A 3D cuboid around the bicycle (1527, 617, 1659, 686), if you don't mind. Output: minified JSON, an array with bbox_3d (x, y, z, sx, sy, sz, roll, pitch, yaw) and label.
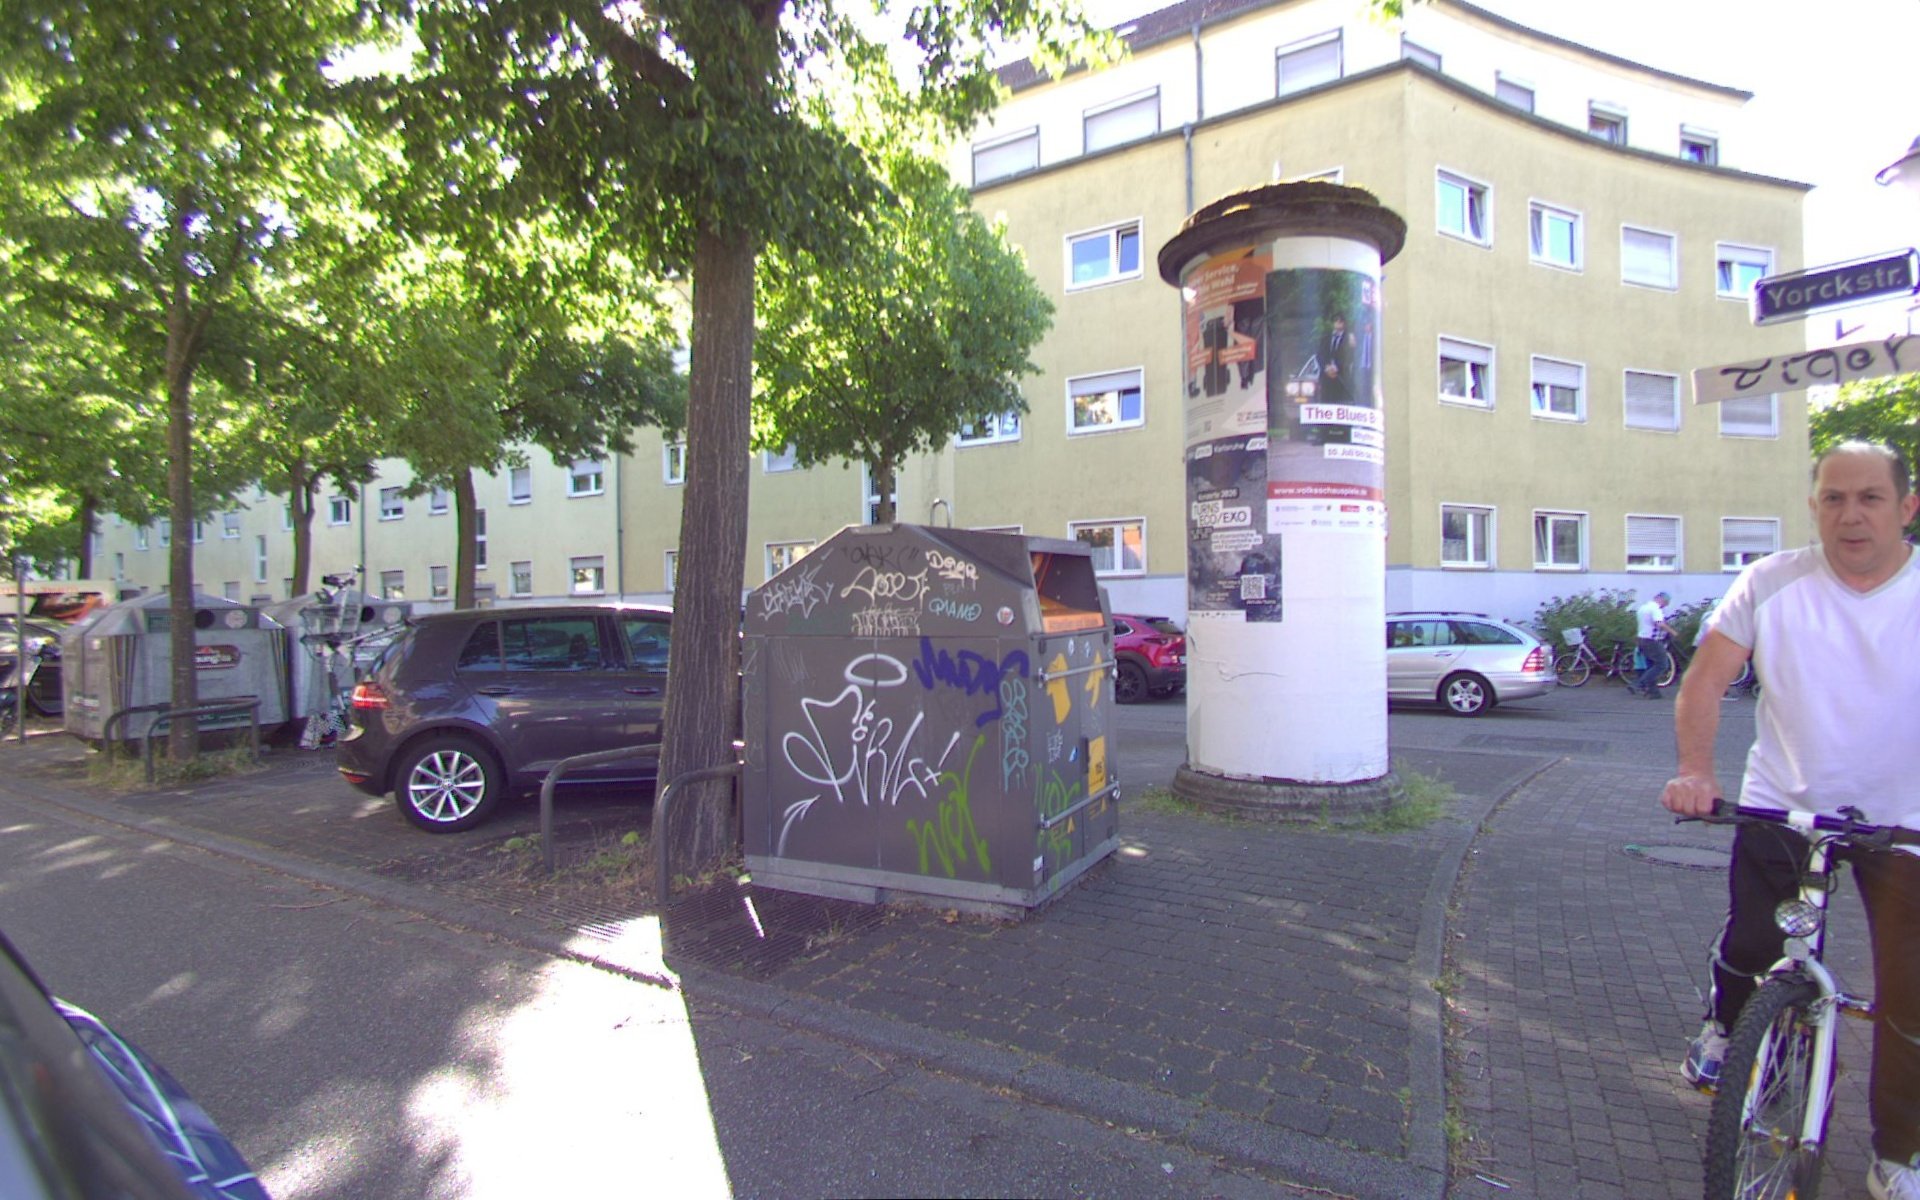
[{"bbox_3d":[10.623,0.859,17.047,1.789,1.116,0.496,-2,-2,24],"label":"bicycle"}]

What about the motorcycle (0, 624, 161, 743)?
[{"bbox_3d":[-11.145,0.991,12.611,0.721,1.358,1.791,-1,-1,15],"label":"motorcycle"}]

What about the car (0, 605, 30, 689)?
[{"bbox_3d":[-23.677,1.085,22.550,3.931,1.913,1.829,-1,-1,-18],"label":"car"}]

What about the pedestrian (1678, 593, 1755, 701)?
[{"bbox_3d":[11.251,0.693,15.073,0.690,1.535,0.647,-2,2,14],"label":"pedestrian"}]

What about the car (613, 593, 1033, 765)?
[{"bbox_3d":[-1.431,0.713,10.318,3.931,1.484,1.765,-1,-2,-17],"label":"car"}]

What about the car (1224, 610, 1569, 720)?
[{"bbox_3d":[6.419,0.904,15.094,4.477,1.422,1.713,-2,-2,34],"label":"car"}]

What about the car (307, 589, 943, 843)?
[{"bbox_3d":[-2.267,0.709,7.447,3.932,1.484,1.765,-1,-2,-16],"label":"car"}]

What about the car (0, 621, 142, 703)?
[{"bbox_3d":[-18.230,1.165,19.109,3.931,1.464,1.829,-1,-1,-18],"label":"car"}]

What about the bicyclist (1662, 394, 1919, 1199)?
[{"bbox_3d":[2.148,0.444,2.342,0.764,1.709,0.801,-2,-1,39],"label":"bicyclist"}]

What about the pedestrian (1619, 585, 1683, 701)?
[{"bbox_3d":[10.431,0.640,15.286,0.603,1.705,0.552,-2,2,14],"label":"pedestrian"}]

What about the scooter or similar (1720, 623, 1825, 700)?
[{"bbox_3d":[12.075,0.902,15.066,0.890,1.030,0.914,-2,2,14],"label":"scooter or similar"}]

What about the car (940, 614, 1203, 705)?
[{"bbox_3d":[1.930,1.014,18.095,4.375,1.450,1.715,-2,-2,34],"label":"car"}]

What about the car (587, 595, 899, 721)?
[{"bbox_3d":[-2.857,0.720,13.951,1.759,1.484,3.945,-2,-2,41],"label":"car"}]

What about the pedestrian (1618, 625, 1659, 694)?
[{"bbox_3d":[10.626,0.927,15.854,0.403,1.047,0.375,-2,2,14],"label":"pedestrian"}]

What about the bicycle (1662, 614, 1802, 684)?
[{"bbox_3d":[12.727,0.804,16.728,1.779,1.116,0.499,-1,-1,9],"label":"bicycle"}]

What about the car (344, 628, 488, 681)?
[{"bbox_3d":[-16.429,1.610,30.512,4.375,1.450,2.020,-2,-2,34],"label":"car"}]

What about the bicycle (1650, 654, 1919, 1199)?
[{"bbox_3d":[2.234,0.779,2.444,0.764,1.207,1.845,-2,-1,39],"label":"bicycle"}]

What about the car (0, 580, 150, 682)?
[{"bbox_3d":[-23.927,0.794,25.986,4.515,2.509,1.993,0,-1,-23],"label":"car"}]

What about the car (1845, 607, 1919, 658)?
[{"bbox_3d":[28.322,0.923,29.335,1.779,1.422,3.999,-2,-1,1],"label":"car"}]

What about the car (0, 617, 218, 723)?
[{"bbox_3d":[-13.681,1.022,15.023,3.931,1.452,1.829,-1,-1,-18],"label":"car"}]

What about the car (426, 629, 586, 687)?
[{"bbox_3d":[-12.539,1.569,27.867,4.375,1.450,2.020,-2,-2,34],"label":"car"}]
